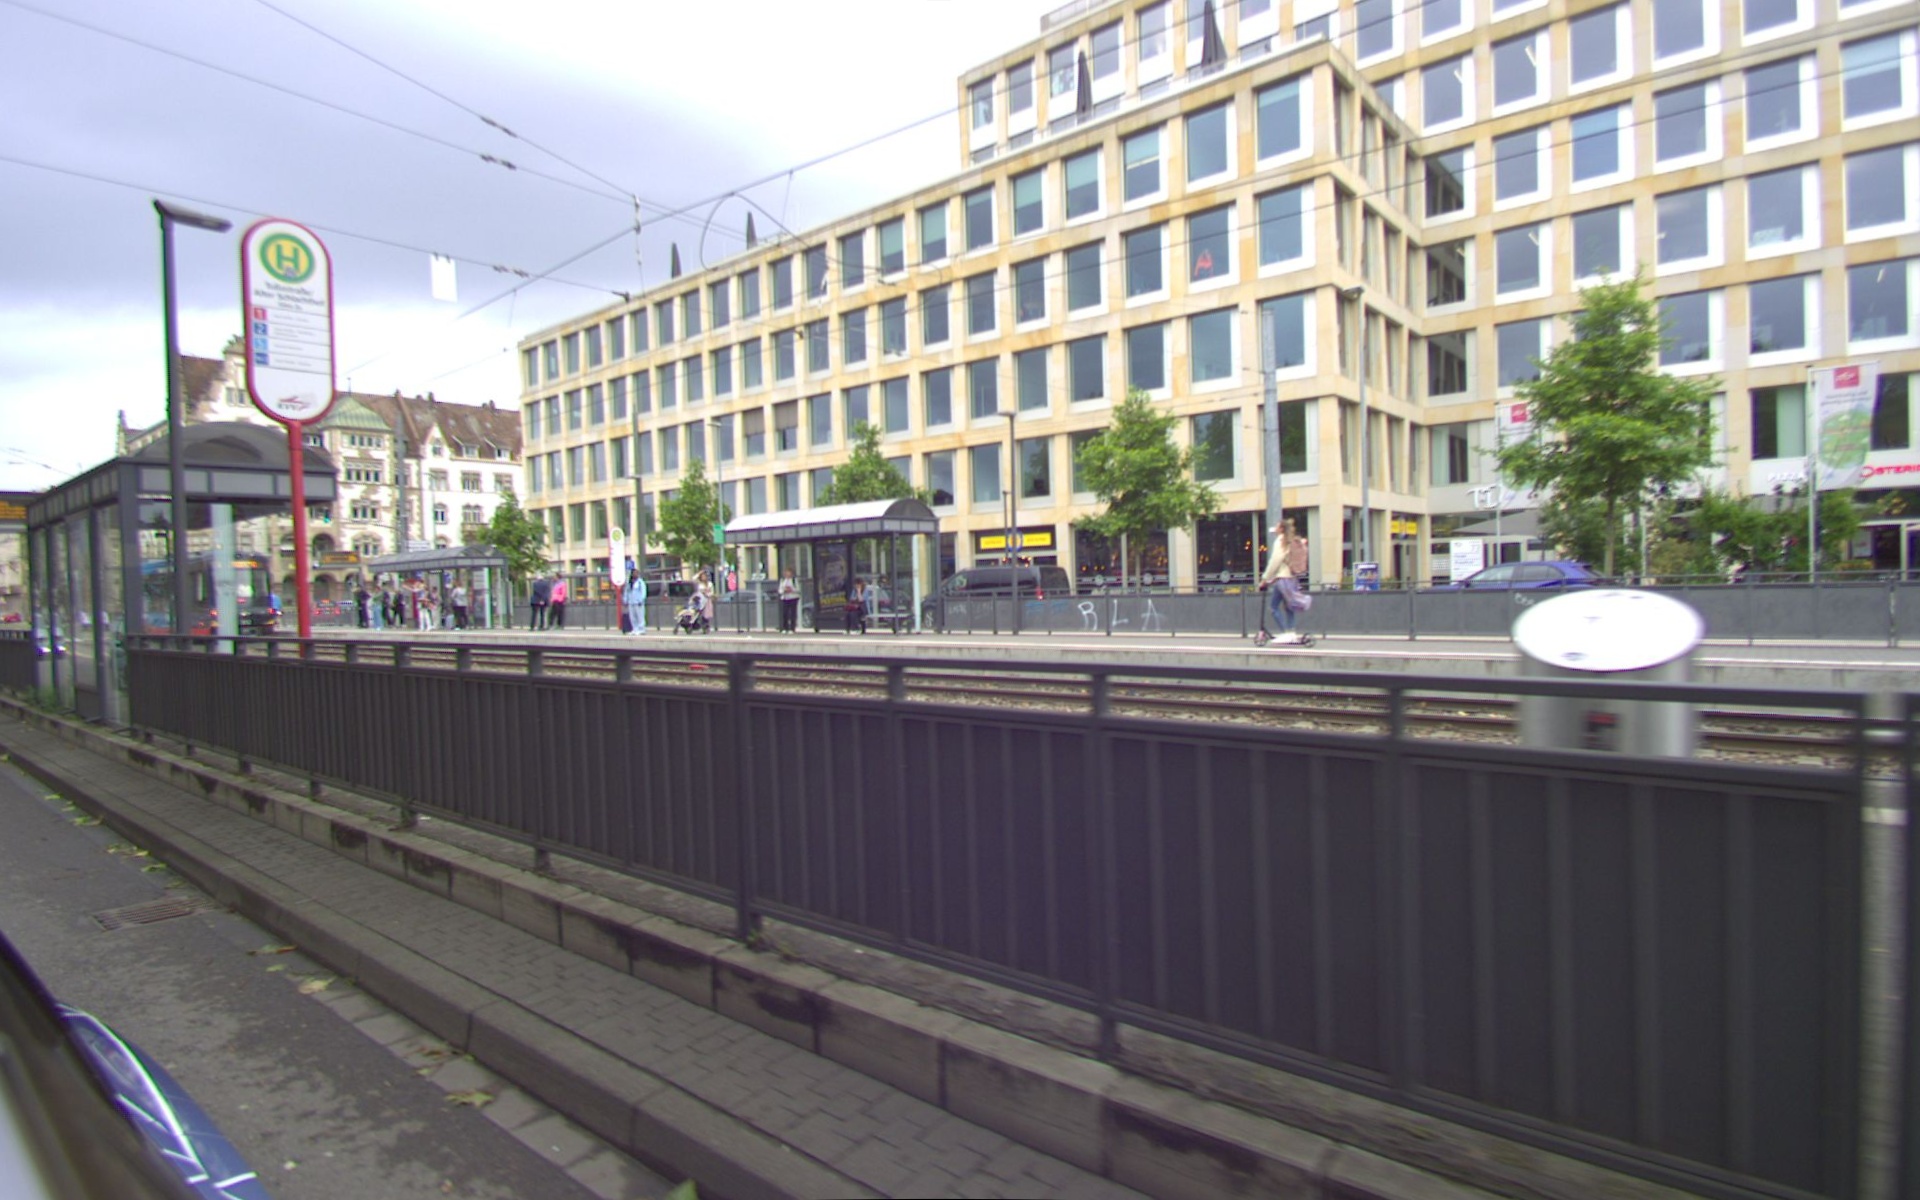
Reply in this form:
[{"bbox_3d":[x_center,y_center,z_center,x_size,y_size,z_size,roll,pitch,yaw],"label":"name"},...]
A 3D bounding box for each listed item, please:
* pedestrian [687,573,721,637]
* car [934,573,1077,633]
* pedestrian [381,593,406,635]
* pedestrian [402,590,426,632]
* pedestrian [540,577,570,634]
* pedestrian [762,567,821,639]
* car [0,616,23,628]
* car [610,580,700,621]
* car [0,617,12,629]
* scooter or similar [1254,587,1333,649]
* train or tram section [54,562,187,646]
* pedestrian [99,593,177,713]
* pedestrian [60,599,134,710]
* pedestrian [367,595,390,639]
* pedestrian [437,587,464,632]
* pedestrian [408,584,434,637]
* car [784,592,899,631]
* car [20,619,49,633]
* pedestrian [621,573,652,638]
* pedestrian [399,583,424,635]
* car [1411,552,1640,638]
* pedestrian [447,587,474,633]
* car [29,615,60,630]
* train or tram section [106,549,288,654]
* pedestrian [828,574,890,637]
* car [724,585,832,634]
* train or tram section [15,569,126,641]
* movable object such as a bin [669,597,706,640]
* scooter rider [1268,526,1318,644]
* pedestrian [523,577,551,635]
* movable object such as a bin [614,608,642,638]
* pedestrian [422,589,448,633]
[{"bbox_3d":[-6.555,0.129,25.971,0.649,1.619,0.578,-1,1,7],"label":"pedestrian"},{"bbox_3d":[1.330,0.085,30.775,4.000,1.674,1.972,0,1,43],"label":"car"},{"bbox_3d":[-21.956,0.556,39.225,0.593,1.599,0.584,-1,1,22],"label":"pedestrian"},{"bbox_3d":[-21.137,0.436,39.176,0.588,1.599,0.589,-1,1,-3],"label":"pedestrian"},{"bbox_3d":[-13.404,0.179,33.500,0.690,1.868,0.721,-2,1,-43],"label":"pedestrian"},{"bbox_3d":[-4.059,0.062,24.396,0.939,1.699,1.027,-1,1,43],"label":"pedestrian"},{"bbox_3d":[-131.442,3.070,140.047,3.994,1.608,1.975,-1,1,38],"label":"car"},{"bbox_3d":[-13.237,0.028,43.797,4.000,1.674,1.972,0,1,43],"label":"car"},{"bbox_3d":[-136.778,3.253,144.110,3.994,1.608,1.975,-1,1,38],"label":"car"},{"bbox_3d":[4.791,0.255,14.569,1.003,0.856,0.383,-1,1,40],"label":"scooter or similar"},{"bbox_3d":[-40.953,0.166,49.160,11.689,3.667,2.826,-1,1,40],"label":"train or tram section"},{"bbox_3d":[-9.887,0.616,12.176,0.600,1.383,0.604,-1,1,41],"label":"pedestrian"},{"bbox_3d":[-10.976,0.669,12.879,0.600,1.351,0.604,-1,1,41],"label":"pedestrian"},{"bbox_3d":[-21.796,0.622,37.913,0.588,1.599,0.589,-2,1,-43],"label":"pedestrian"},{"bbox_3d":[-18.365,0.355,36.507,0.593,1.599,0.584,-1,1,22],"label":"pedestrian"},{"bbox_3d":[-18.445,0.341,34.628,0.588,1.782,0.589,-2,1,-43],"label":"pedestrian"},{"bbox_3d":[-4.213,0.387,35.648,4.000,1.236,1.876,0,1,43],"label":"car"},{"bbox_3d":[-113.141,3.138,123.711,3.994,1.608,1.975,-1,1,38],"label":"car"},{"bbox_3d":[-8.239,0.127,25.756,0.529,1.619,0.566,-2,1,-43],"label":"pedestrian"},{"bbox_3d":[-19.255,0.301,35.537,0.588,1.782,0.589,-2,1,-43],"label":"pedestrian"},{"bbox_3d":[12.177,-0.112,21.924,4.000,1.674,1.972,0,1,43],"label":"car"},{"bbox_3d":[-17.600,0.352,35.660,0.593,1.599,0.584,-1,1,22],"label":"pedestrian"},{"bbox_3d":[-107.838,2.652,119.184,3.994,1.608,1.975,-1,1,38],"label":"car"},{"bbox_3d":[-31.255,0.056,41.063,13.508,3.719,2.826,0,1,40],"label":"train or tram section"},{"bbox_3d":[-2.327,0.115,23.358,0.939,1.382,1.027,0,1,43],"label":"pedestrian"},{"bbox_3d":[-6.866,0.337,38.029,4.000,1.674,1.972,0,1,43],"label":"car"},{"bbox_3d":[-49.971,0.273,56.701,11.755,3.667,2.826,-1,1,40],"label":"train or tram section"},{"bbox_3d":[-6.829,0.459,25.393,0.714,1.029,0.620,-1,1,7],"label":"movable object such as a bin"},{"bbox_3d":[4.787,-0.215,14.551,0.553,1.661,0.399,-1,1,39],"label":"scooter rider"},{"bbox_3d":[-13.197,0.191,31.574,0.589,1.782,0.588,-1,1,3],"label":"pedestrian"},{"bbox_3d":[-8.584,0.594,26.138,0.529,0.753,0.469,-2,1,-43],"label":"movable object such as a bin"},{"bbox_3d":[-19.567,0.413,37.692,0.593,1.599,0.584,-1,1,22],"label":"pedestrian"}]
